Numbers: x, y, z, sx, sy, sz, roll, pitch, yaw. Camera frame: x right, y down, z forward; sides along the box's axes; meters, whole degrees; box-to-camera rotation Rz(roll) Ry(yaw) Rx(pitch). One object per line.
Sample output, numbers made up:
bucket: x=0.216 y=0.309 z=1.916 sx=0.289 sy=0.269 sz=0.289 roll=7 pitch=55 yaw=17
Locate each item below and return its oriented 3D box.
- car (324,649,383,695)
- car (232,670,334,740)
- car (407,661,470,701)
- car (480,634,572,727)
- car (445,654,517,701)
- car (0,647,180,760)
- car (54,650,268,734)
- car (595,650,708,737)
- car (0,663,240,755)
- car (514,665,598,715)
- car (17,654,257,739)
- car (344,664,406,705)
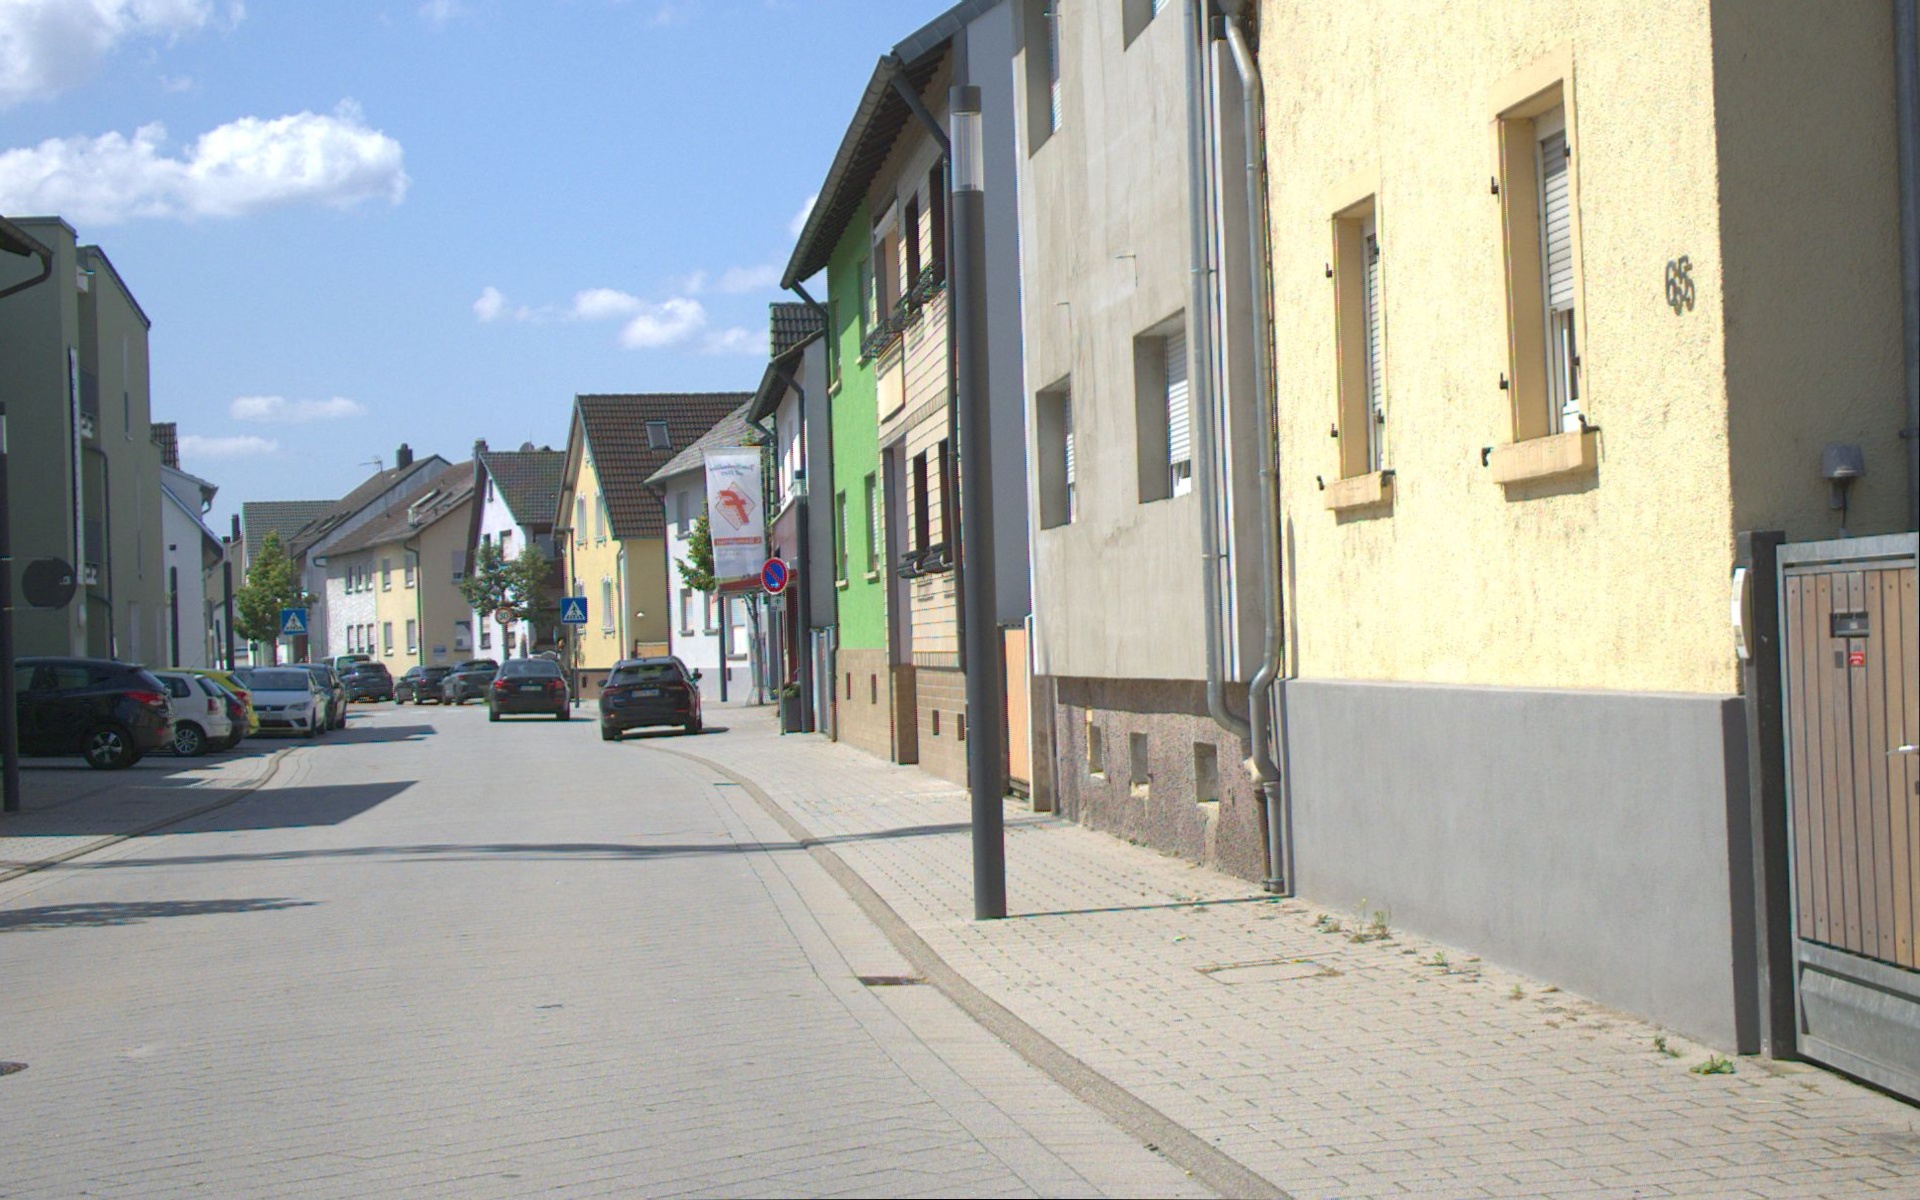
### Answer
car: x=-25.754 y=3.050 z=145.916 sx=1.906 sy=1.865 sz=4.001 roll=-2 pitch=-1 yaw=-18
car: x=-14.315 y=2.199 z=72.827 sx=1.757 sy=1.406 sz=3.878 roll=0 pitch=-1 yaw=-6
car: x=-19.363 y=2.997 z=127.485 sx=1.710 sy=1.382 sz=3.706 roll=-2 pitch=-1 yaw=-18
car: x=-10.226 y=1.868 z=80.858 sx=1.993 sy=2.051 sz=4.374 roll=-2 pitch=-1 yaw=-8
car: x=-16.777 y=2.711 z=120.204 sx=1.846 sy=1.557 sz=3.694 roll=-2 pitch=-1 yaw=-18
car: x=-13.933 y=1.526 z=51.427 sx=4.218 sy=1.653 sz=1.784 roll=0 pitch=-1 yaw=-6
car: x=-14.976 y=1.726 z=64.597 sx=3.691 sy=1.520 sz=1.672 roll=1 pitch=-1 yaw=-5
car: x=-5.757 y=1.732 z=64.503 sx=1.858 sy=1.454 sz=4.586 roll=-4 pitch=-1 yaw=-3
car: x=-14.523 y=1.869 z=59.299 sx=3.900 sy=1.497 sz=1.751 roll=1 pitch=-1 yaw=-4
car: x=-13.095 y=2.914 z=111.199 sx=1.828 sy=1.466 sz=4.277 roll=-4 pitch=-1 yaw=-18
car: x=-14.767 y=1.723 z=61.835 sx=3.986 sy=1.437 sz=1.691 roll=1 pitch=-1 yaw=-6
car: x=-23.940 y=3.441 z=140.599 sx=1.877 sy=1.586 sz=4.001 roll=-2 pitch=-1 yaw=-18
